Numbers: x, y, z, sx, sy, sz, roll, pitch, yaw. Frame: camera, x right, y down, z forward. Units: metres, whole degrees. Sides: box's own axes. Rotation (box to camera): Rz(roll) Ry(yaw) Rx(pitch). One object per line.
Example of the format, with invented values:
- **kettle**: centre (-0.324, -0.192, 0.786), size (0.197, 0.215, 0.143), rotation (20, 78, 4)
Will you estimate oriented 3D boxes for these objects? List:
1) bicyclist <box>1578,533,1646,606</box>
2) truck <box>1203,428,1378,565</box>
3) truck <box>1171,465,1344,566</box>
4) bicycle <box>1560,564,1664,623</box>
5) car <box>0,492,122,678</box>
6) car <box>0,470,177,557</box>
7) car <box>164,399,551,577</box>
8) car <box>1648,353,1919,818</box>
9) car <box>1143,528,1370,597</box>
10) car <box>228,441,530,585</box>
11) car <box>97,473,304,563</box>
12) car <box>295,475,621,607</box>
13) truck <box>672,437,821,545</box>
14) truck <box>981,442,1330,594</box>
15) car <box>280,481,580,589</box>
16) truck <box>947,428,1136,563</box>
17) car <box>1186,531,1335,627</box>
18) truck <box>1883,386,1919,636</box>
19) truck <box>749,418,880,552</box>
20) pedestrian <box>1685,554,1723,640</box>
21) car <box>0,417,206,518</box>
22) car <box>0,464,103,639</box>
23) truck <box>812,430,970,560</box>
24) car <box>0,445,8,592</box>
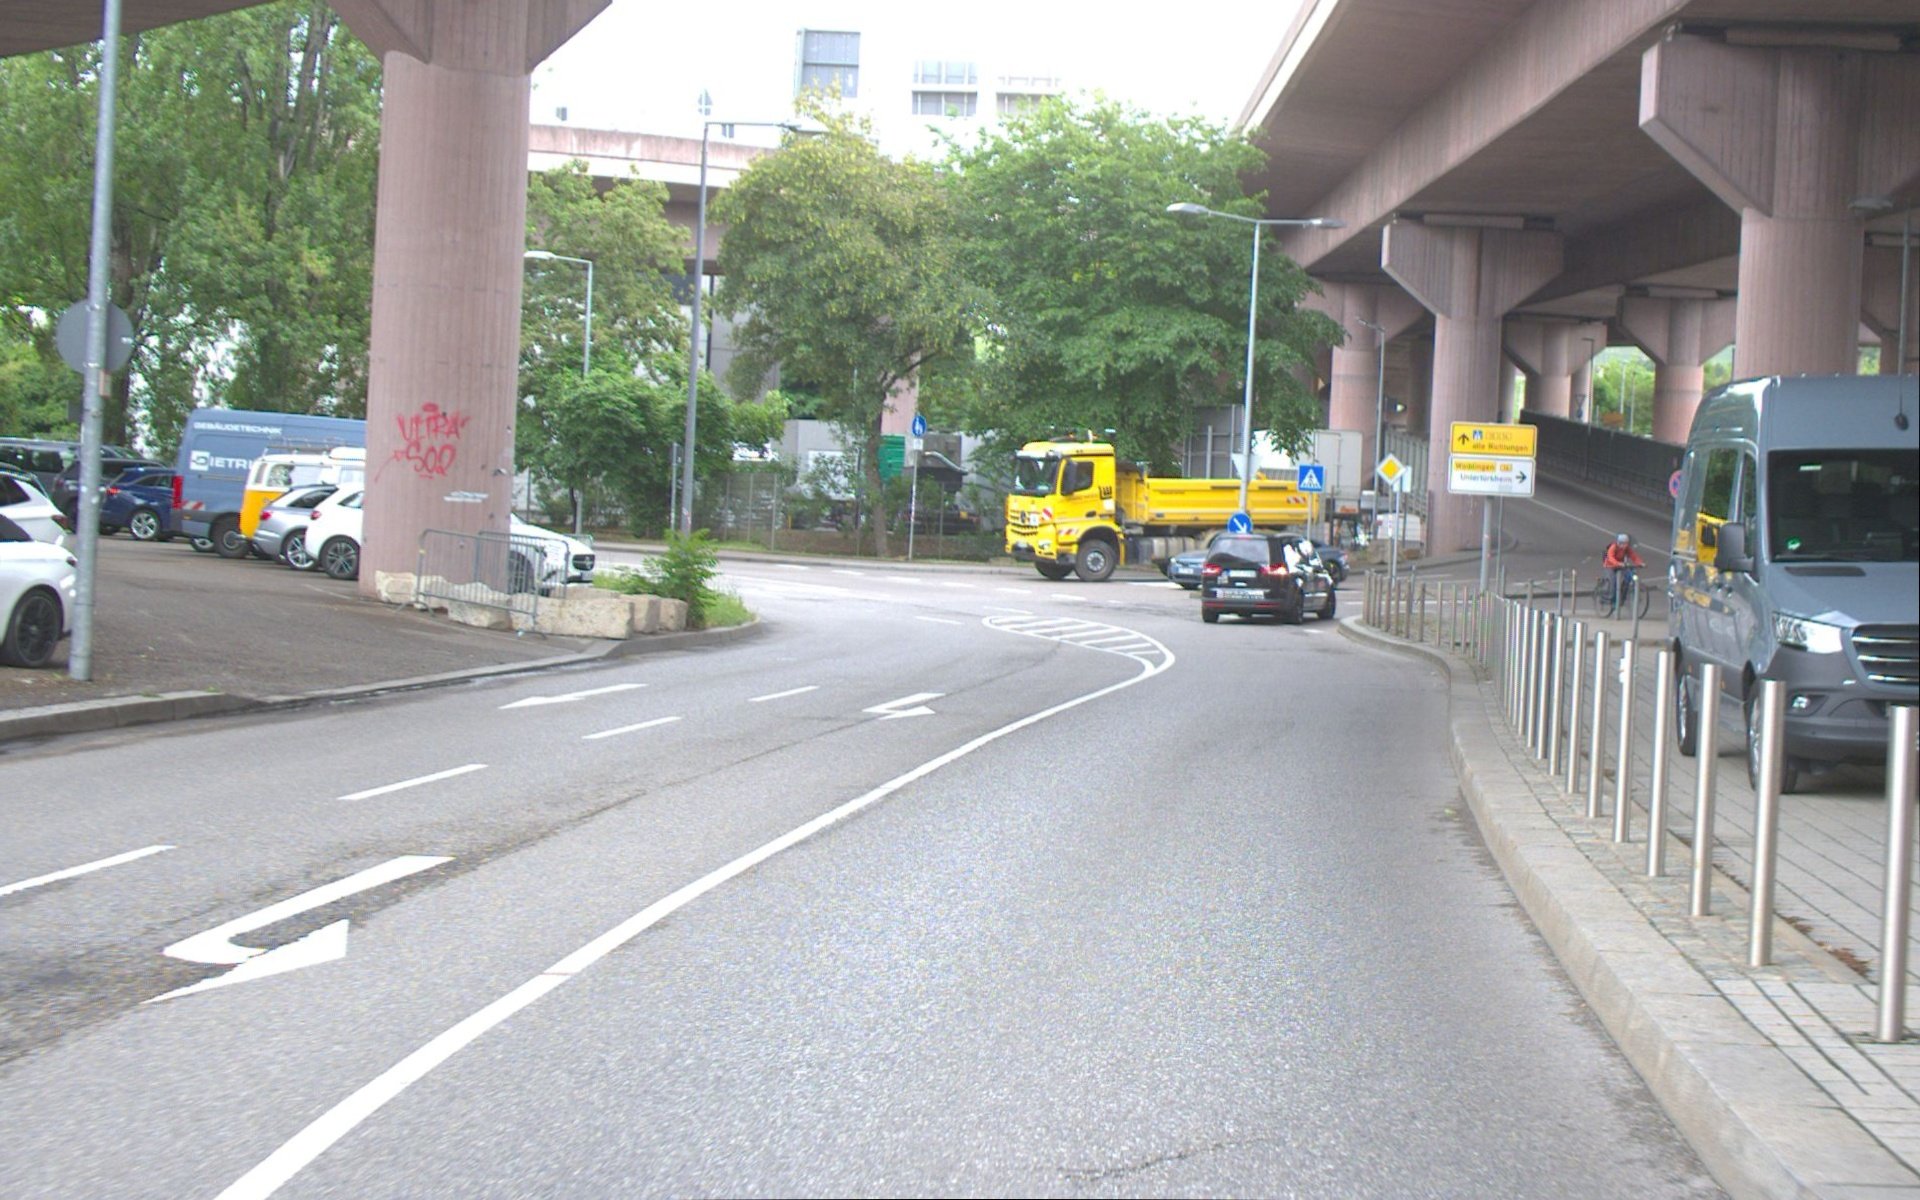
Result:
- **bicyclist**: centre (12.807, -0.601, 67.520), size (0.796, 1.400, 1.067), rotation (0, 1, -29)
- **truck**: centre (11.049, -3.551, 115.940), size (3.064, 4.284, 8.052), rotation (1, 3, -15)
- **truck**: centre (9.376, -2.713, 109.122), size (2.914, 2.888, 6.561), rotation (1, 3, -20)
- **bicycle**: centre (12.801, -0.136, 67.525), size (0.802, 1.094, 2.131), rotation (0, 1, -29)
- **car**: centre (-9.092, -0.249, 27.714), size (1.996, 1.474, 4.822), rotation (7, 1, 21)
- **car**: centre (-18.539, -1.817, 72.122), size (3.986, 1.724, 2.001), rotation (1, 1, -10)
- **car**: centre (-10.581, -1.973, 60.646), size (6.176, 2.715, 2.367), rotation (4, 2, 5)
- **car**: centre (5.835, -0.139, 22.377), size (1.994, 2.604, 6.073), rotation (2, 1, 6)
- **car**: centre (7.030, -0.889, 81.394), size (4.915, 1.496, 2.174), rotation (1, 2, -27)
- **car**: centre (-9.762, -1.467, 57.879), size (4.558, 2.104, 1.850), rotation (4, 2, 10)
- **car**: centre (-15.349, -1.657, 69.692), size (3.986, 1.734, 2.022), rotation (1, 1, -10)
- **car**: centre (-7.597, -0.905, 52.152), size (4.384, 1.600, 1.953), rotation (5, 2, 14)
- **truck**: centre (-7.975, -4.091, 127.211), size (3.054, 3.606, 7.919), rotation (1, 3, -22)
- **truck**: centre (4.936, -2.045, 86.349), size (8.216, 3.468, 2.938), rotation (0, 6, -27)
- **car**: centre (-8.501, -1.056, 55.272), size (4.246, 1.366, 1.999), rotation (5, 2, 12)
- **truck**: centre (2.428, -3.305, 106.691), size (3.065, 3.854, 8.052), rotation (1, 3, -20)
- **car**: centre (5.776, -0.428, 65.592), size (1.995, 1.673, 4.557), rotation (3, 2, 15)
- **truck**: centre (22.486, -1.649, 70.006), size (3.146, 4.900, 8.695), rotation (4, 2, 44)
- **truck**: centre (-5.595, -4.433, 130.762), size (3.202, 4.763, 8.052), rotation (1, 3, -15)
- **pedestrian**: centre (14.709, -0.064, 67.975), size (0.536, 1.670, 0.558), rotation (0, 2, -10)
- **car**: centre (-19.879, -2.989, 77.516), size (5.090, 2.064, 2.259), rotation (2, 0, 5)
- **car**: centre (-10.140, -0.573, 31.686), size (1.996, 1.577, 4.395), rotation (7, 1, 22)
- **truck**: centre (-2.280, -3.388, 110.990), size (3.064, 3.949, 6.926), rotation (2, 1, -18)
- **car**: centre (-12.751, -1.004, 38.229), size (1.859, 1.685, 4.158), rotation (4, 1, 25)
